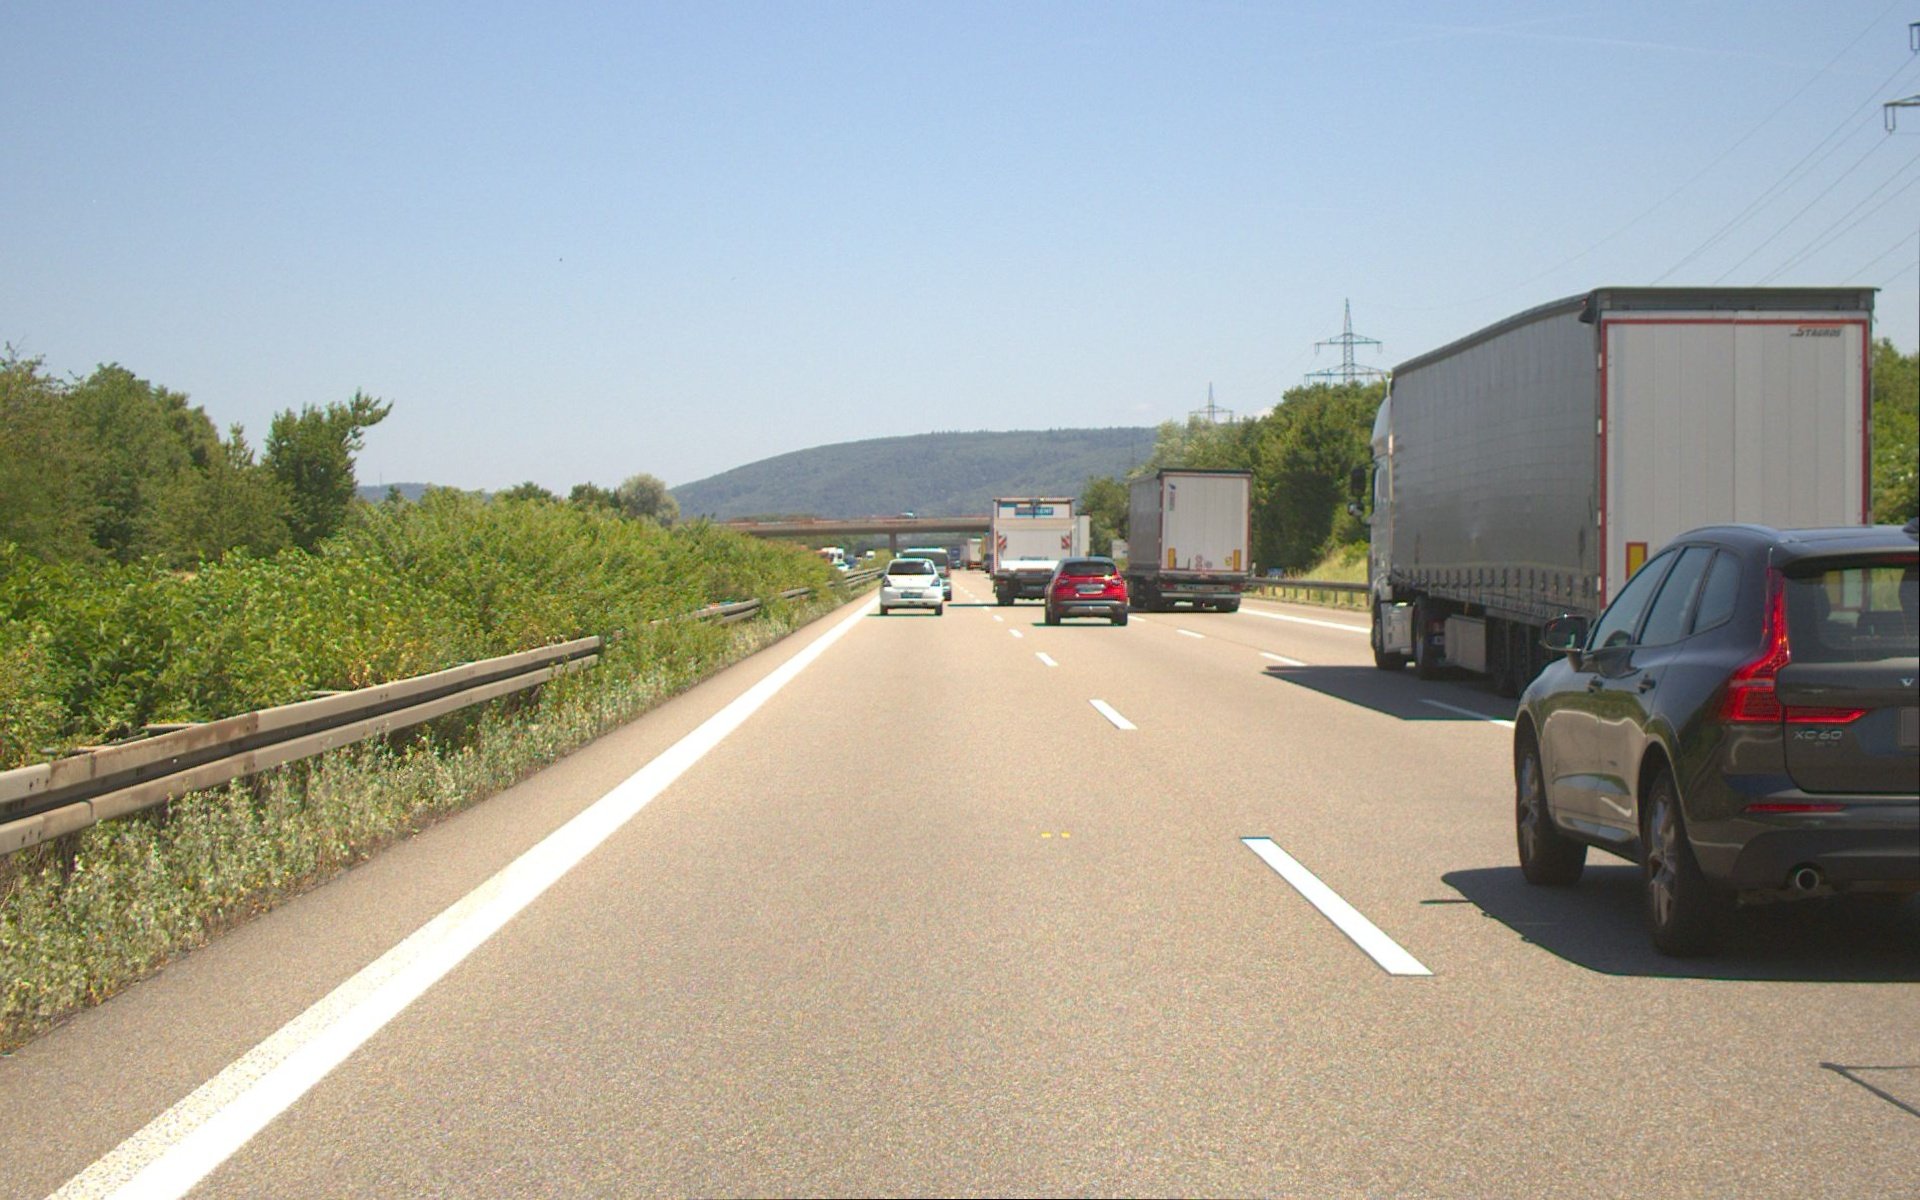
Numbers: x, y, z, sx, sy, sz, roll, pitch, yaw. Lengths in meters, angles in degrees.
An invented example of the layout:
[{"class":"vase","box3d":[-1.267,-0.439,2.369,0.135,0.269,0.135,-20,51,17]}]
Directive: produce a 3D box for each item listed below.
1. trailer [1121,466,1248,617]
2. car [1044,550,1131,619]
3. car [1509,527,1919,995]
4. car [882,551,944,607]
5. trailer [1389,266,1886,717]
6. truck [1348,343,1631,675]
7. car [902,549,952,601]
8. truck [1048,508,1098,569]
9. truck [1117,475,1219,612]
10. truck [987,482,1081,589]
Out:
[{"class":"trailer","box3d":[6.521,-1.693,101.879,2.789,4.149,13.574,-1,1,0]},{"class":"car","box3d":[2.900,-0.373,78.735,1.803,1.540,4.000,0,1,0]},{"class":"car","box3d":[3.511,0.532,13.916,1.873,1.618,4.004,0,1,-1]},{"class":"car","box3d":[-1.267,-0.581,92.721,1.607,1.463,4.000,0,1,-1]},{"class":"trailer","box3d":[6.987,-1.058,37.842,2.736,4.092,13.123,0,1,-1]},{"class":"truck","box3d":[6.905,-1.159,45.670,2.736,4.105,6.125,0,1,-1]},{"class":"car","box3d":[-1.197,-0.929,124.031,1.760,1.844,4.000,0,1,-1]},{"class":"truck","box3d":[6.180,-3.376,188.706,2.221,3.198,10.385,-1,1,-1]},{"class":"truck","box3d":[6.525,-1.767,108.320,2.795,4.149,5.723,-1,1,0]},{"class":"truck","box3d":[2.362,-2.077,112.667,2.782,3.361,8.128,0,0,-1]}]
